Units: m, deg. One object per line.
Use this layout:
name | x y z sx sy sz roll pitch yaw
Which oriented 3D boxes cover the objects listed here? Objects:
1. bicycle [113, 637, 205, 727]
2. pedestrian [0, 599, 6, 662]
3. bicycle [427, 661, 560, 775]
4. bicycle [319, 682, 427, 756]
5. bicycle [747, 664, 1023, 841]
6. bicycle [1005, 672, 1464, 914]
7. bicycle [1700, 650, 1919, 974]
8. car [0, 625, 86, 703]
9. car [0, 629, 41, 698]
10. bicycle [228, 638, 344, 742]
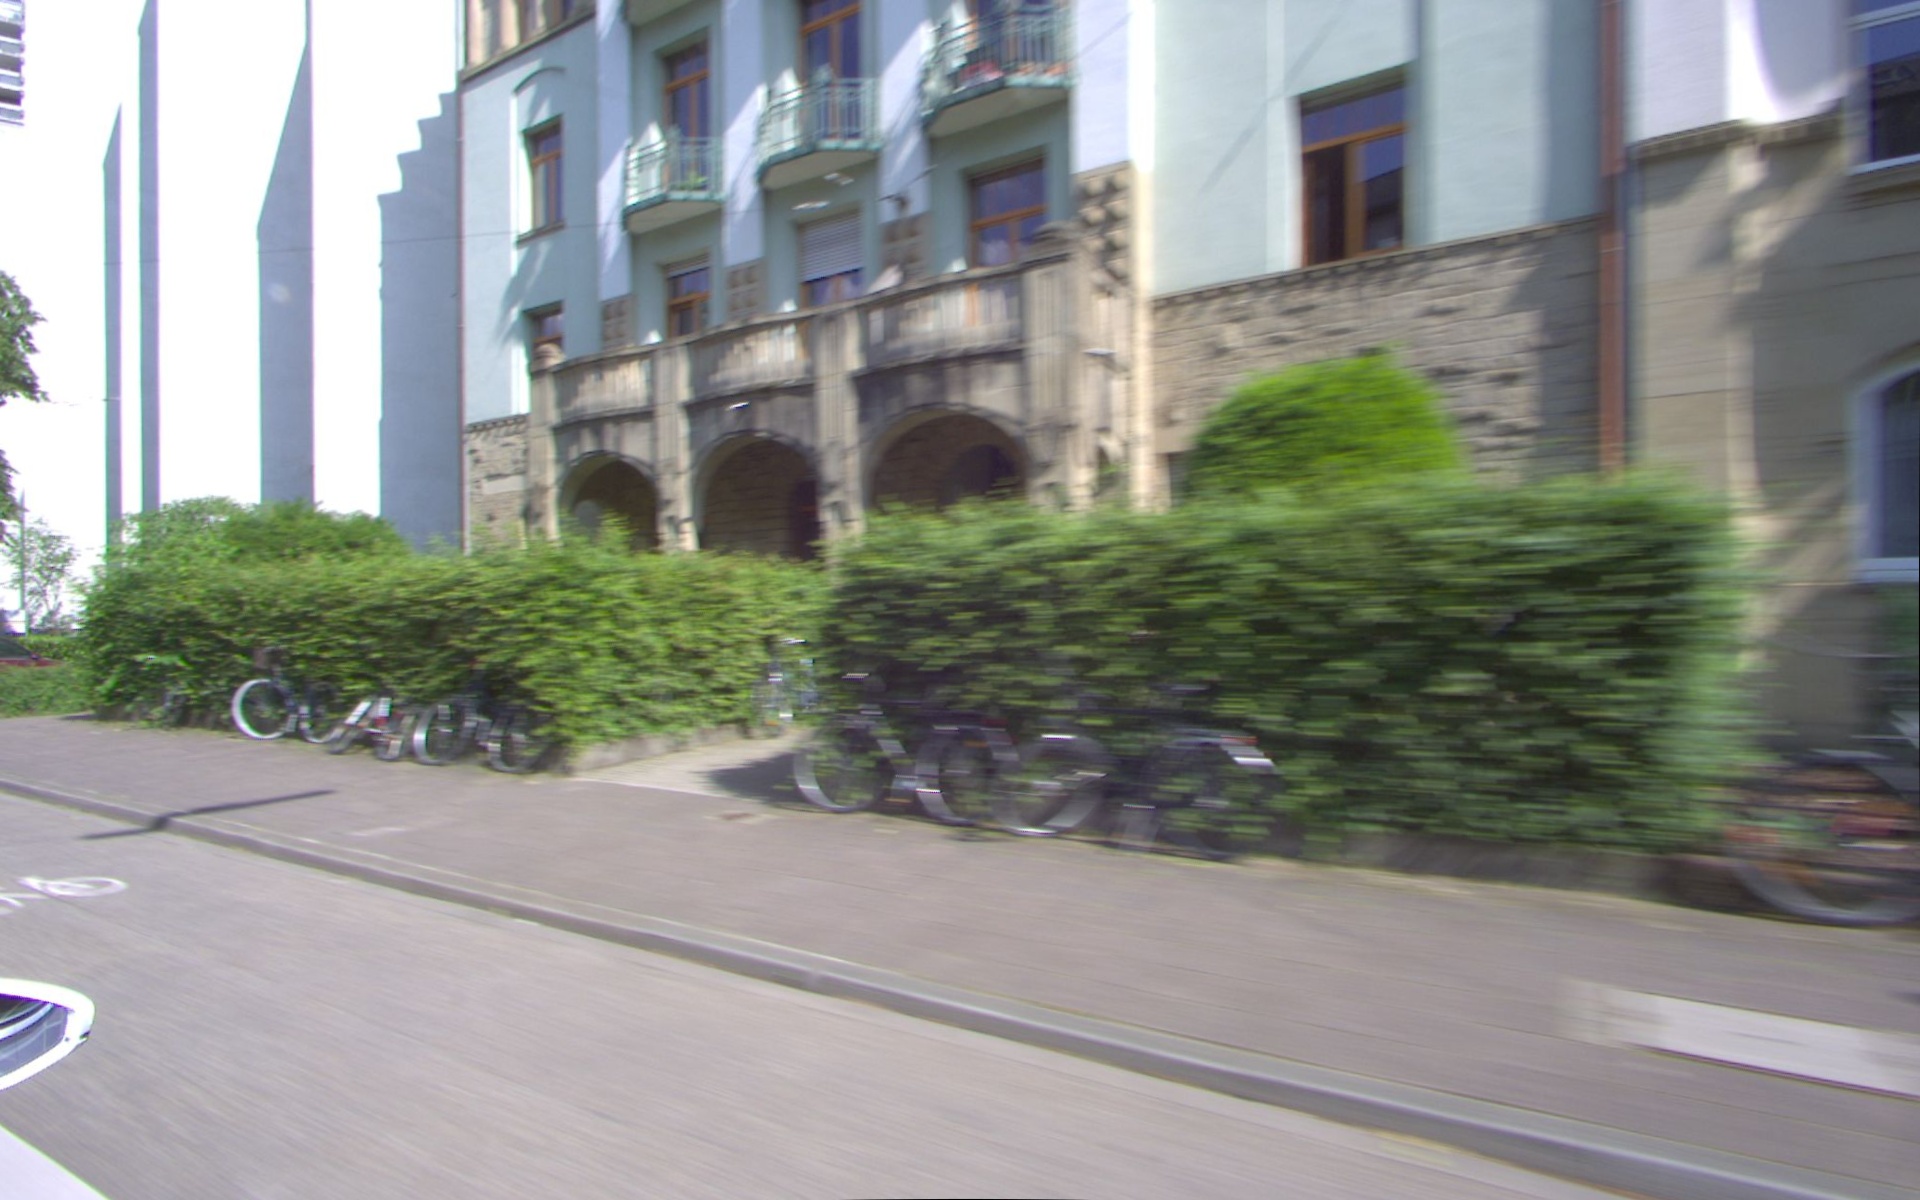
bicycle | -10.746 1.071 13.417 1.982 1.124 0.278 -1 2 32
pedestrian | -29.484 0.934 30.279 0.989 1.898 0.758 -1 -1 38
bicycle | -4.417 1.085 9.440 1.644 0.920 0.273 1 4 32
bicycle | -6.214 1.237 10.569 1.537 0.686 0.278 -1 2 32
bicycle | -0.538 0.969 6.790 1.845 1.002 0.611 -1 1 32
bicycle | 1.422 0.949 5.463 2.328 1.009 0.609 -1 2 32
bicycle | 4.491 0.841 3.926 2.480 1.247 0.739 -1 -1 32
car | -18.786 1.205 18.702 1.832 1.442 4.157 0 -1 -10
car | -21.311 1.330 20.566 1.667 1.467 3.999 1 -2 -10
bicycle | -7.810 1.006 11.572 1.982 1.124 0.278 -1 2 32
